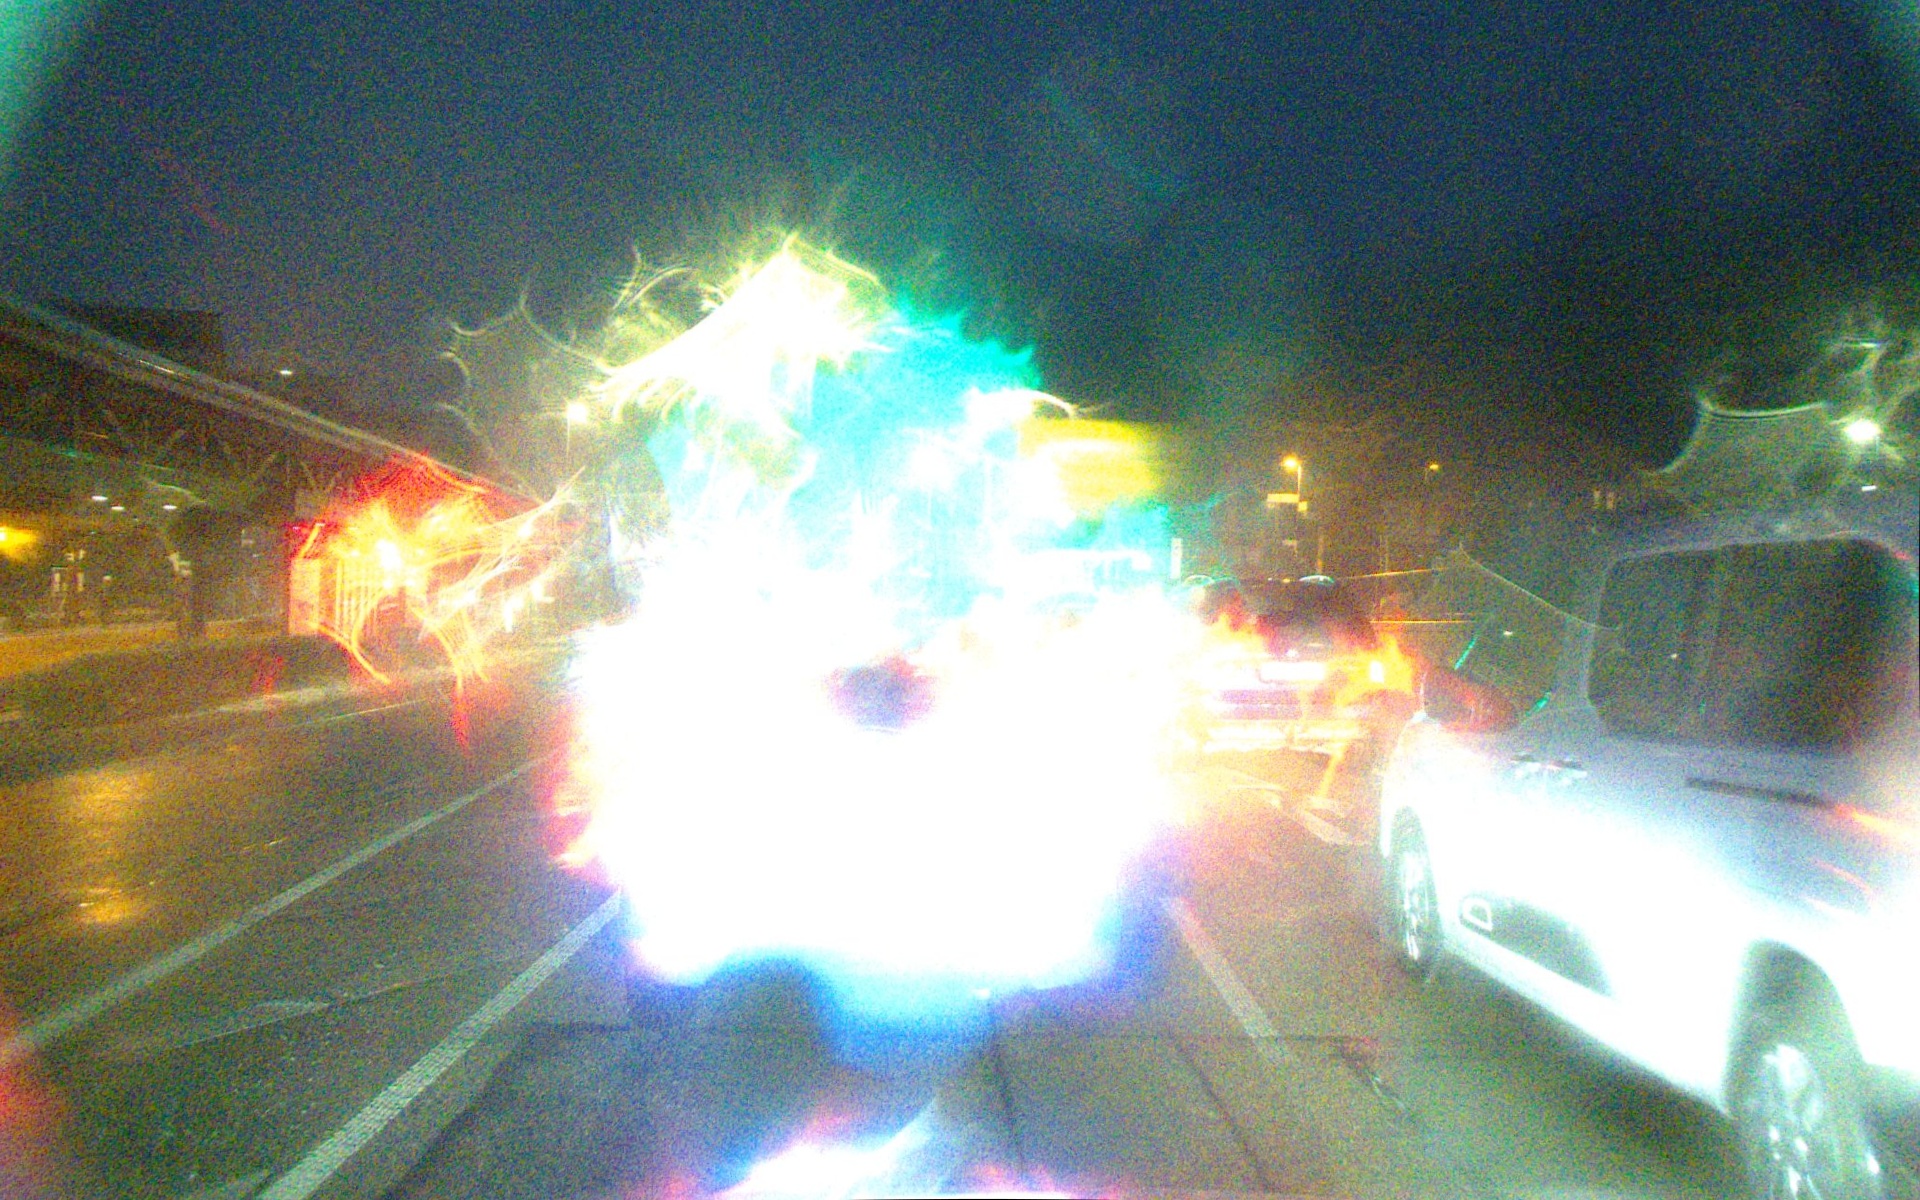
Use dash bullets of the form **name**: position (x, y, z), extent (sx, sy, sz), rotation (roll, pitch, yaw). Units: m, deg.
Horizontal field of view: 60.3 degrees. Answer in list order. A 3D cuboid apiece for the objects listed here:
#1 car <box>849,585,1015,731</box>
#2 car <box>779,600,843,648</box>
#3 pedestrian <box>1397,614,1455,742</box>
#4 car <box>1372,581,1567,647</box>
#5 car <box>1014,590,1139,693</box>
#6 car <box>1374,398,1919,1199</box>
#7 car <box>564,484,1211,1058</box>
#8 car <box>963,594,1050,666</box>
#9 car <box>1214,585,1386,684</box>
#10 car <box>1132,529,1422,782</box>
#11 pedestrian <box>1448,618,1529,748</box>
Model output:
- **car**: position (-0.363, 0.708, 21.805), extent (1.953, 1.713, 3.999), rotation (1, 0, -1)
- **car**: position (-6.124, 0.968, 67.582), extent (1.960, 1.856, 3.984), rotation (1, 0, -15)
- **pedestrian**: position (6.417, 1.059, 22.800), extent (0.610, 1.731, 0.540), rotation (1, -1, -3)
- **car**: position (12.329, 0.335, 40.076), extent (4.244, 1.485, 1.849), rotation (1, -1, 28)
- **car**: position (2.097, 0.738, 30.777), extent (1.953, 1.748, 3.999), rotation (1, 0, -1)
- **car**: position (2.757, 0.578, 5.049), extent (1.814, 1.897, 4.339), rotation (1, 0, -1)
- **car**: position (-0.260, 0.547, 7.359), extent (1.974, 1.747, 4.450), rotation (1, 0, -1)
- **car**: position (1.123, 0.737, 42.008), extent (1.953, 1.699, 3.998), rotation (1, 0, -2)
- **car**: position (5.392, 0.499, 26.742), extent (1.749, 1.467, 4.236), rotation (0, 0, -2)
- **car**: position (2.859, 0.477, 15.828), extent (1.929, 2.083, 3.999), rotation (1, 0, -1)
- **pedestrian**: position (7.239, 1.128, 22.667), extent (0.854, 1.731, 0.614), rotation (1, -1, -27)
